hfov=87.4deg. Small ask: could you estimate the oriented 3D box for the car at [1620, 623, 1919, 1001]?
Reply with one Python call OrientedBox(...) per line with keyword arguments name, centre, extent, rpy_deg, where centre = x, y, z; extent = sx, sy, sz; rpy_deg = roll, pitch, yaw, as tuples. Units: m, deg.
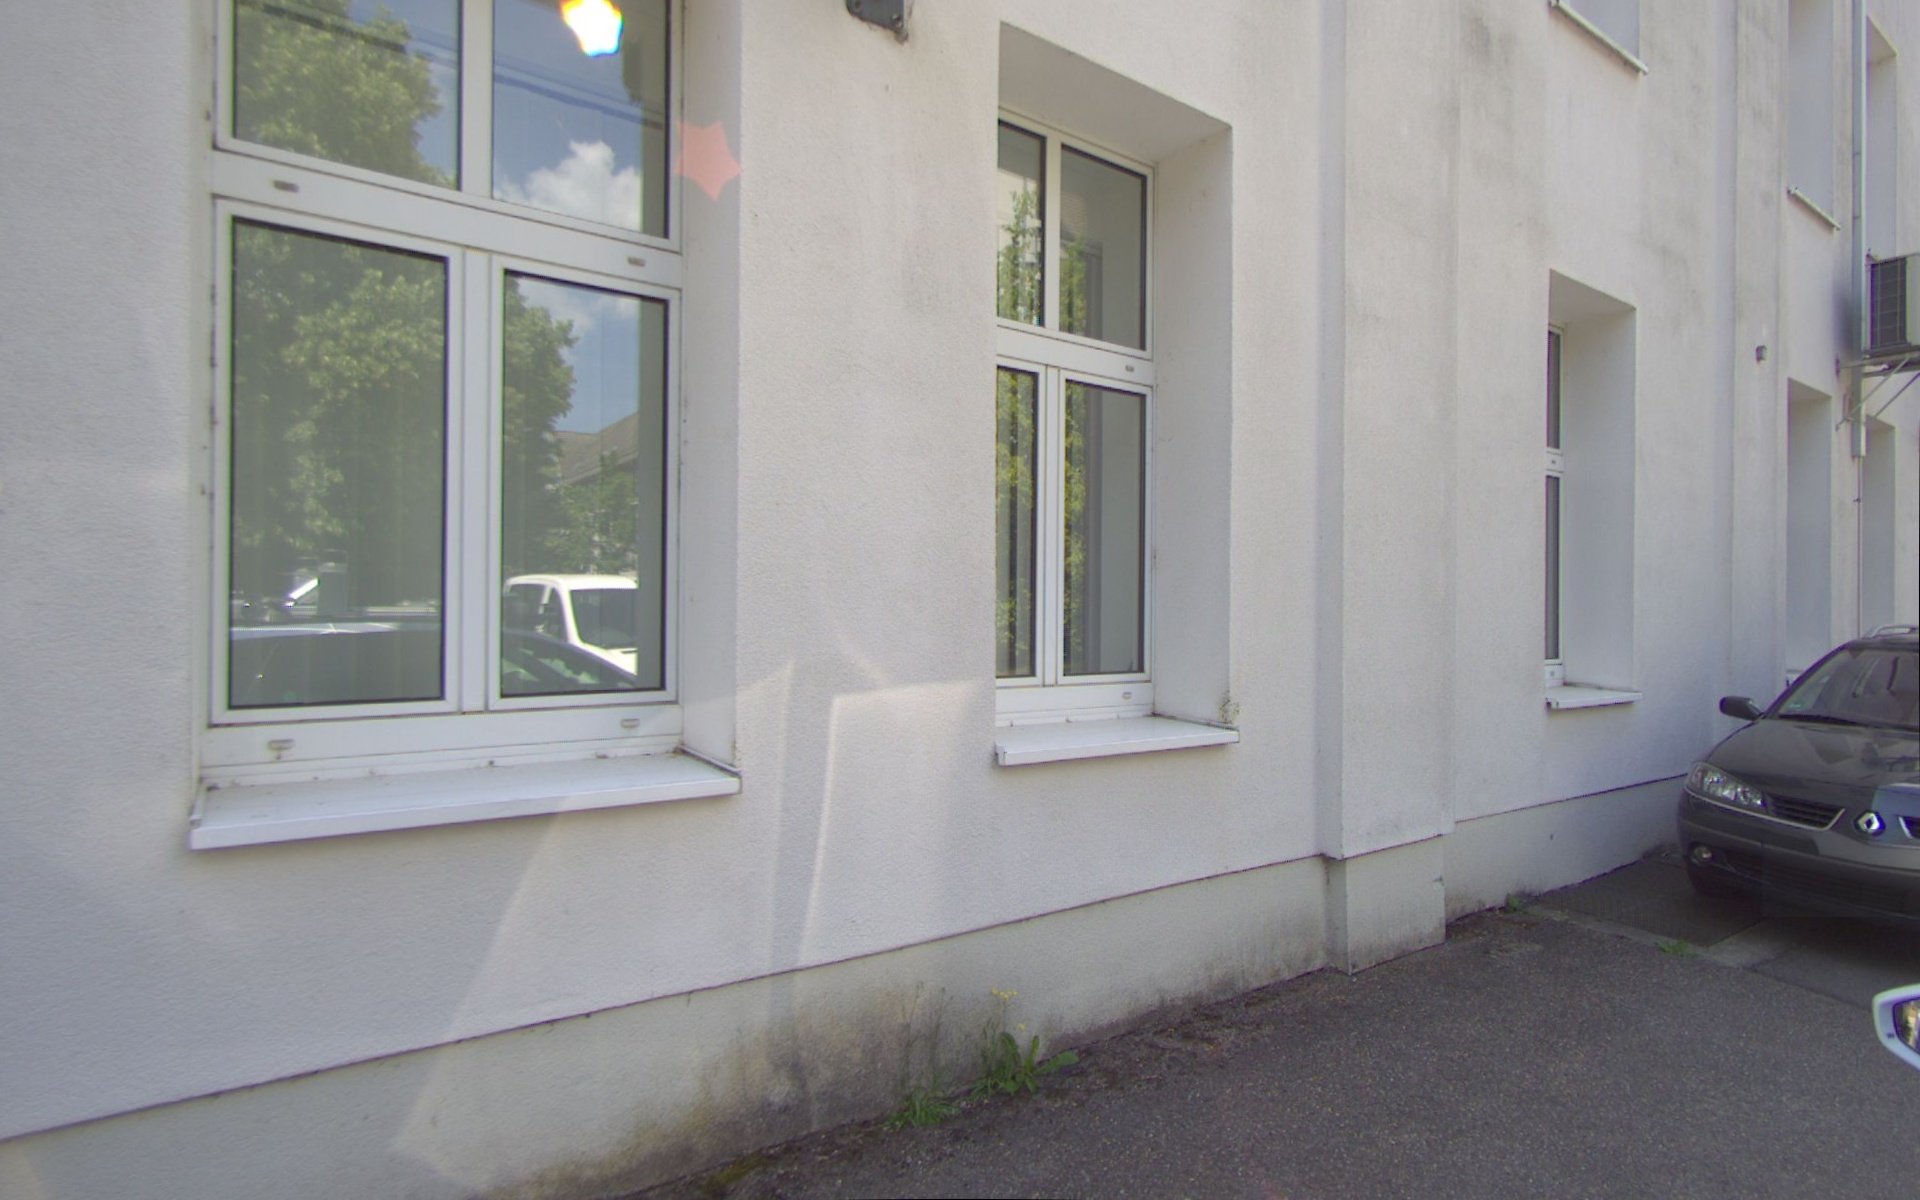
OrientedBox(name="car", centre=(5.470, 0.878, 5.415), extent=(4.342, 1.449, 1.743), rpy_deg=(0, 0, -35))
